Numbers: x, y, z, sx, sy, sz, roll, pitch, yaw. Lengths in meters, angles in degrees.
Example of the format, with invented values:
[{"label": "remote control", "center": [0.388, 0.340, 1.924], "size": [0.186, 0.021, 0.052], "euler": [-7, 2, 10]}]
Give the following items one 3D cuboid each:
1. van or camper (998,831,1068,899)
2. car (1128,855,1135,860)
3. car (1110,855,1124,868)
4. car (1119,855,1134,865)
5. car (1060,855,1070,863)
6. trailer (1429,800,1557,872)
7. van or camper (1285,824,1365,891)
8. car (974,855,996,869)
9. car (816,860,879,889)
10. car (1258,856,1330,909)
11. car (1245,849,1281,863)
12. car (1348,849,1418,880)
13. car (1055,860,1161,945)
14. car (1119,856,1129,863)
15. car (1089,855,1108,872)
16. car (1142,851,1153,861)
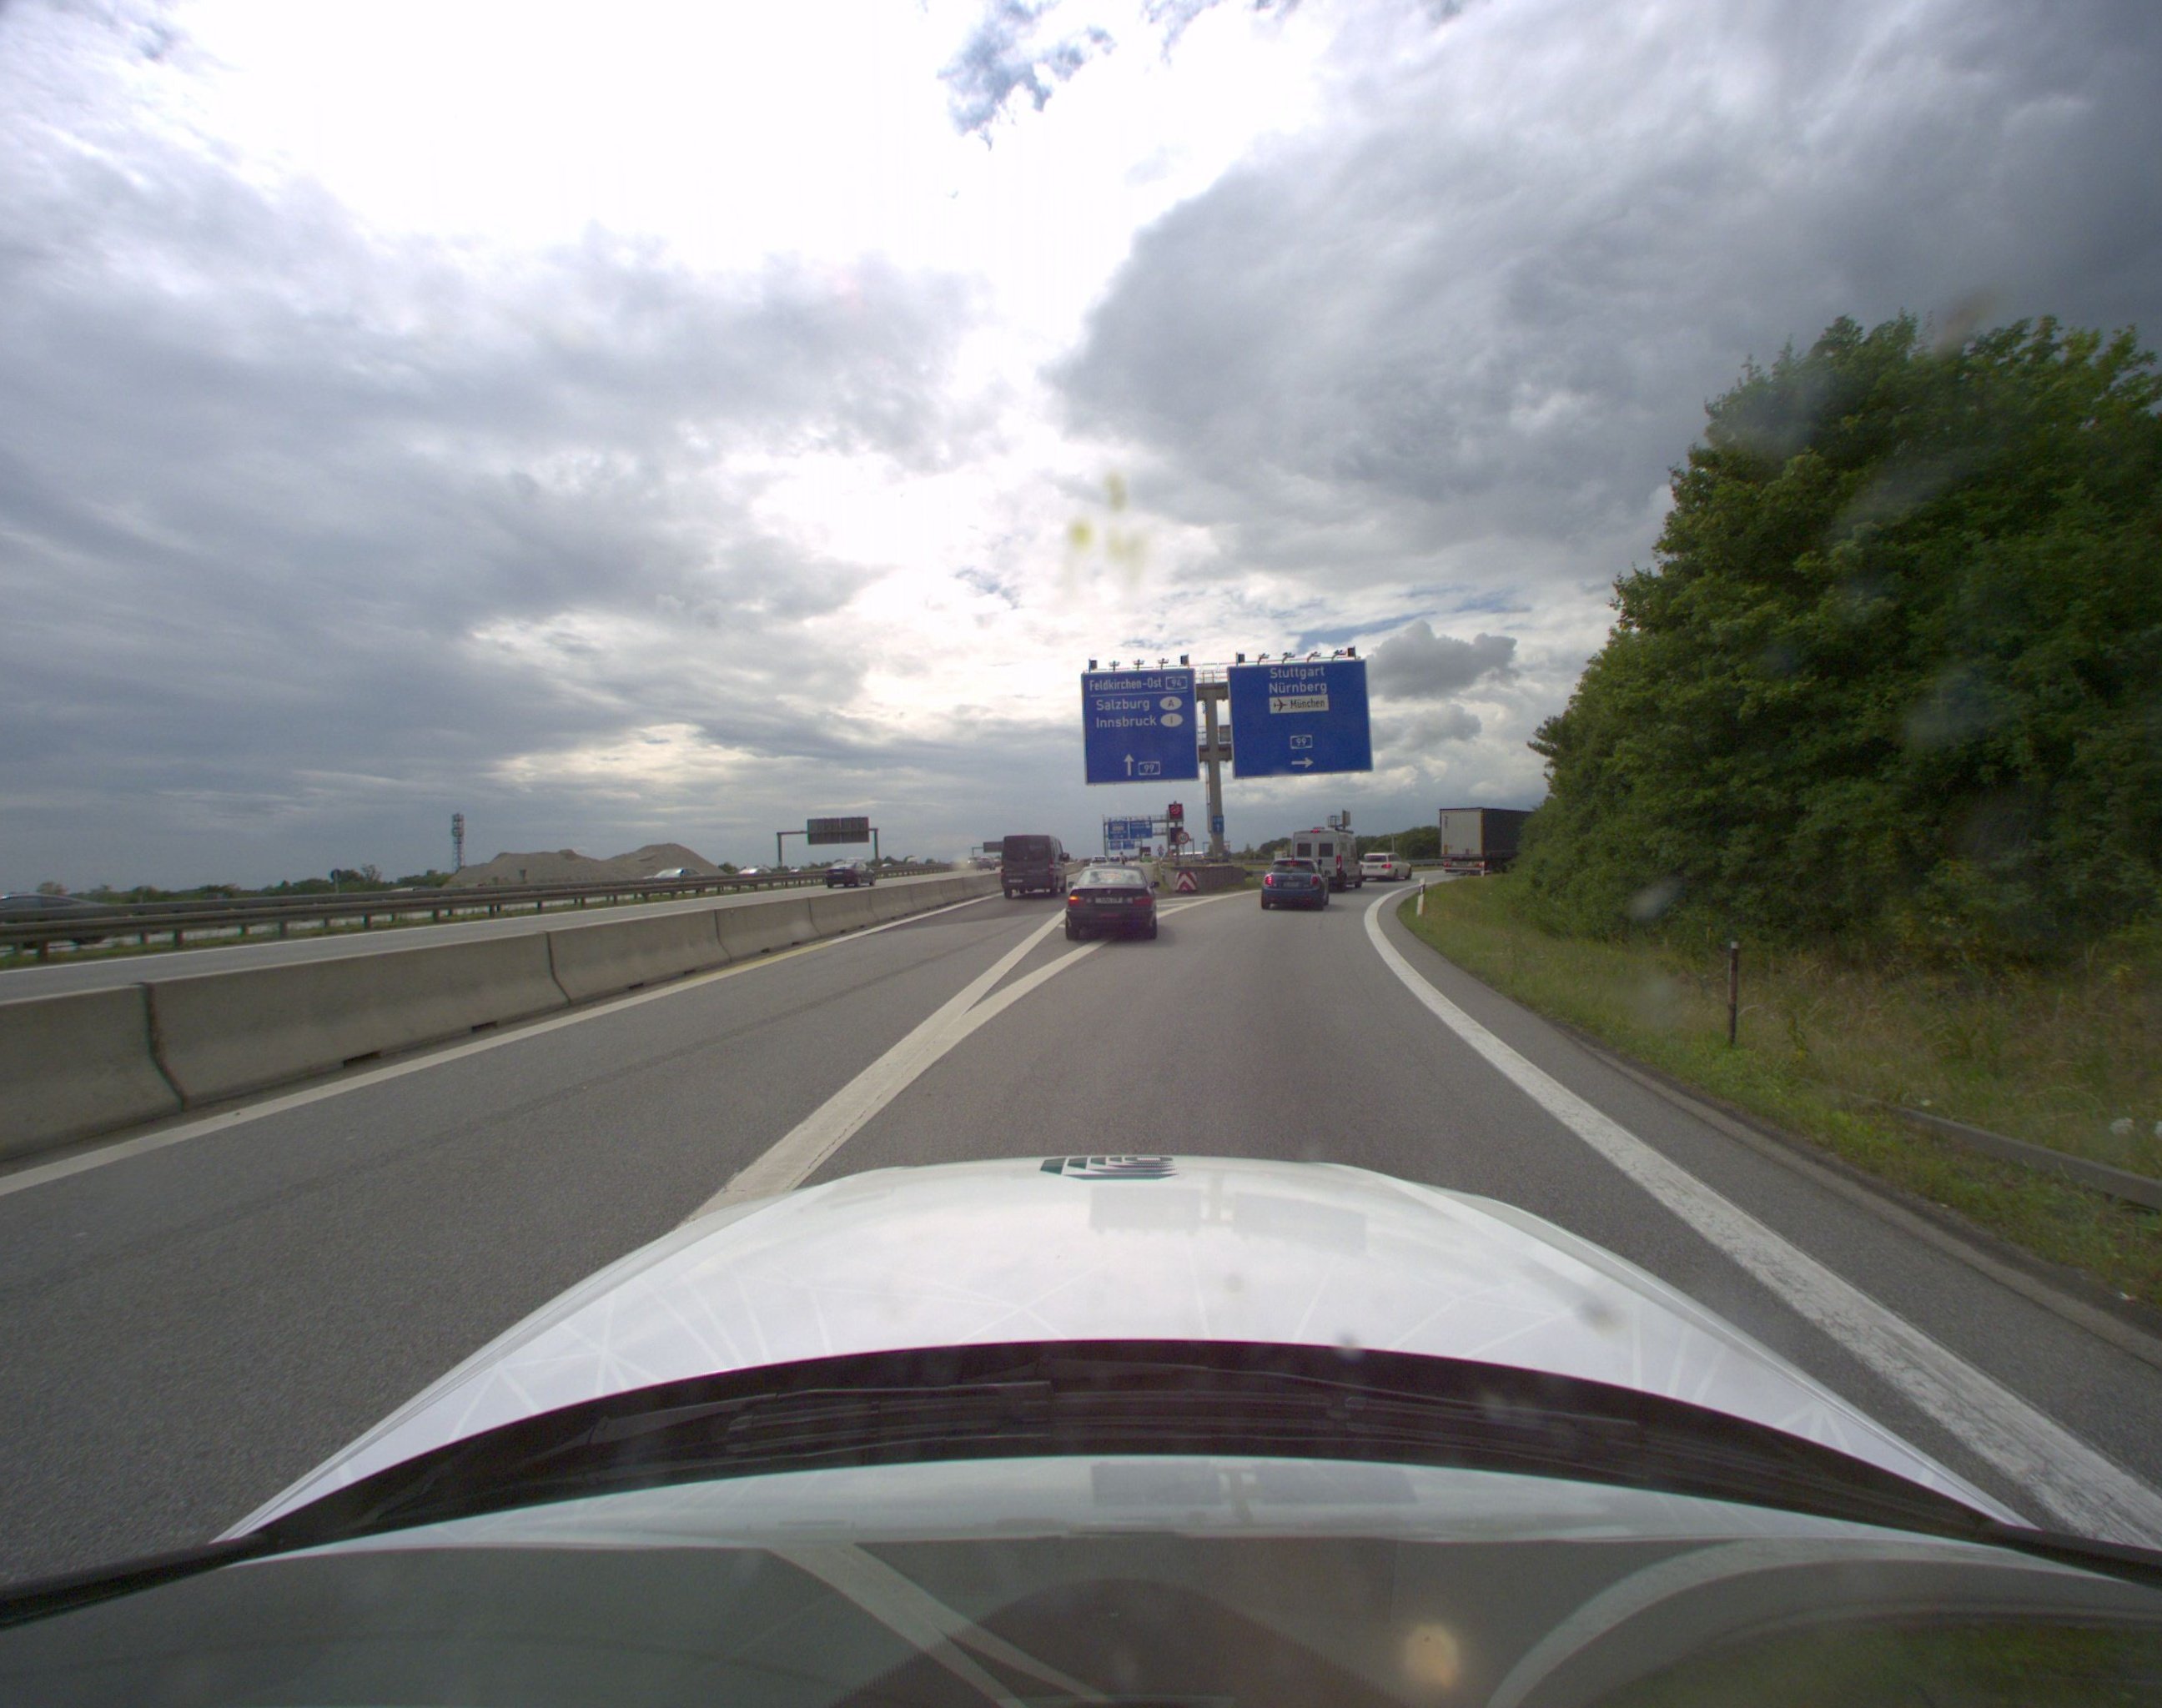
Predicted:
[{"label": "van or camper", "center": [-1.754, 0.383, 32.058], "size": [1.991, 2.370, 6.131], "euler": [-1, 0, 3]}, {"label": "car", "center": [14.900, 1.097, 240.862], "size": [1.794, 1.424, 4.005], "euler": [-2, 0, 5]}, {"label": "car", "center": [4.486, 0.893, 100.649], "size": [1.578, 1.484, 3.538], "euler": [-2, 0, 4]}, {"label": "car", "center": [7.036, 0.939, 125.709], "size": [1.983, 1.468, 4.007], "euler": [-2, 0, 7]}, {"label": "car", "center": [-3.719, 1.188, 191.043], "size": [1.985, 1.683, 4.870], "euler": [-1, 0, 3]}, {"label": "trailer", "center": [27.100, -1.098, 53.022], "size": [13.107, 4.193, 3.300], "euler": [-1, 0, -44]}, {"label": "van or camper", "center": [10.478, 0.143, 34.643], "size": [2.272, 2.568, 6.196], "euler": [-2, 0, 25]}, {"label": "car", "center": [-11.435, 0.922, 96.975], "size": [1.894, 1.640, 4.646], "euler": [-1, 0, 1]}, {"label": "car", "center": [-13.130, 1.115, 46.062], "size": [2.051, 1.527, 4.570], "euler": [-1, 0, 2]}, {"label": "car", "center": [6.322, 0.791, 23.895], "size": [1.715, 1.419, 3.683], "euler": [-1, -1, 19]}, {"label": "car", "center": [23.969, 0.320, 107.219], "size": [2.010, 1.772, 4.197], "euler": [-1, 0, -39]}, {"label": "car", "center": [16.113, 0.536, 43.280], "size": [2.184, 1.501, 4.818], "euler": [-2, -1, 37]}, {"label": "car", "center": [0.597, 0.845, 15.996], "size": [1.774, 1.378, 4.141], "euler": [-2, 0, 4]}, {"label": "car", "center": [8.752, 1.052, 164.252], "size": [1.858, 1.424, 4.004], "euler": [-2, 0, 4]}, {"label": "car", "center": [1.635, 0.856, 75.585], "size": [1.694, 1.508, 3.842], "euler": [-1, 0, 2]}, {"label": "car", "center": [13.368, 0.357, 164.362], "size": [1.986, 2.013, 4.002], "euler": [-1, 0, 2]}]
